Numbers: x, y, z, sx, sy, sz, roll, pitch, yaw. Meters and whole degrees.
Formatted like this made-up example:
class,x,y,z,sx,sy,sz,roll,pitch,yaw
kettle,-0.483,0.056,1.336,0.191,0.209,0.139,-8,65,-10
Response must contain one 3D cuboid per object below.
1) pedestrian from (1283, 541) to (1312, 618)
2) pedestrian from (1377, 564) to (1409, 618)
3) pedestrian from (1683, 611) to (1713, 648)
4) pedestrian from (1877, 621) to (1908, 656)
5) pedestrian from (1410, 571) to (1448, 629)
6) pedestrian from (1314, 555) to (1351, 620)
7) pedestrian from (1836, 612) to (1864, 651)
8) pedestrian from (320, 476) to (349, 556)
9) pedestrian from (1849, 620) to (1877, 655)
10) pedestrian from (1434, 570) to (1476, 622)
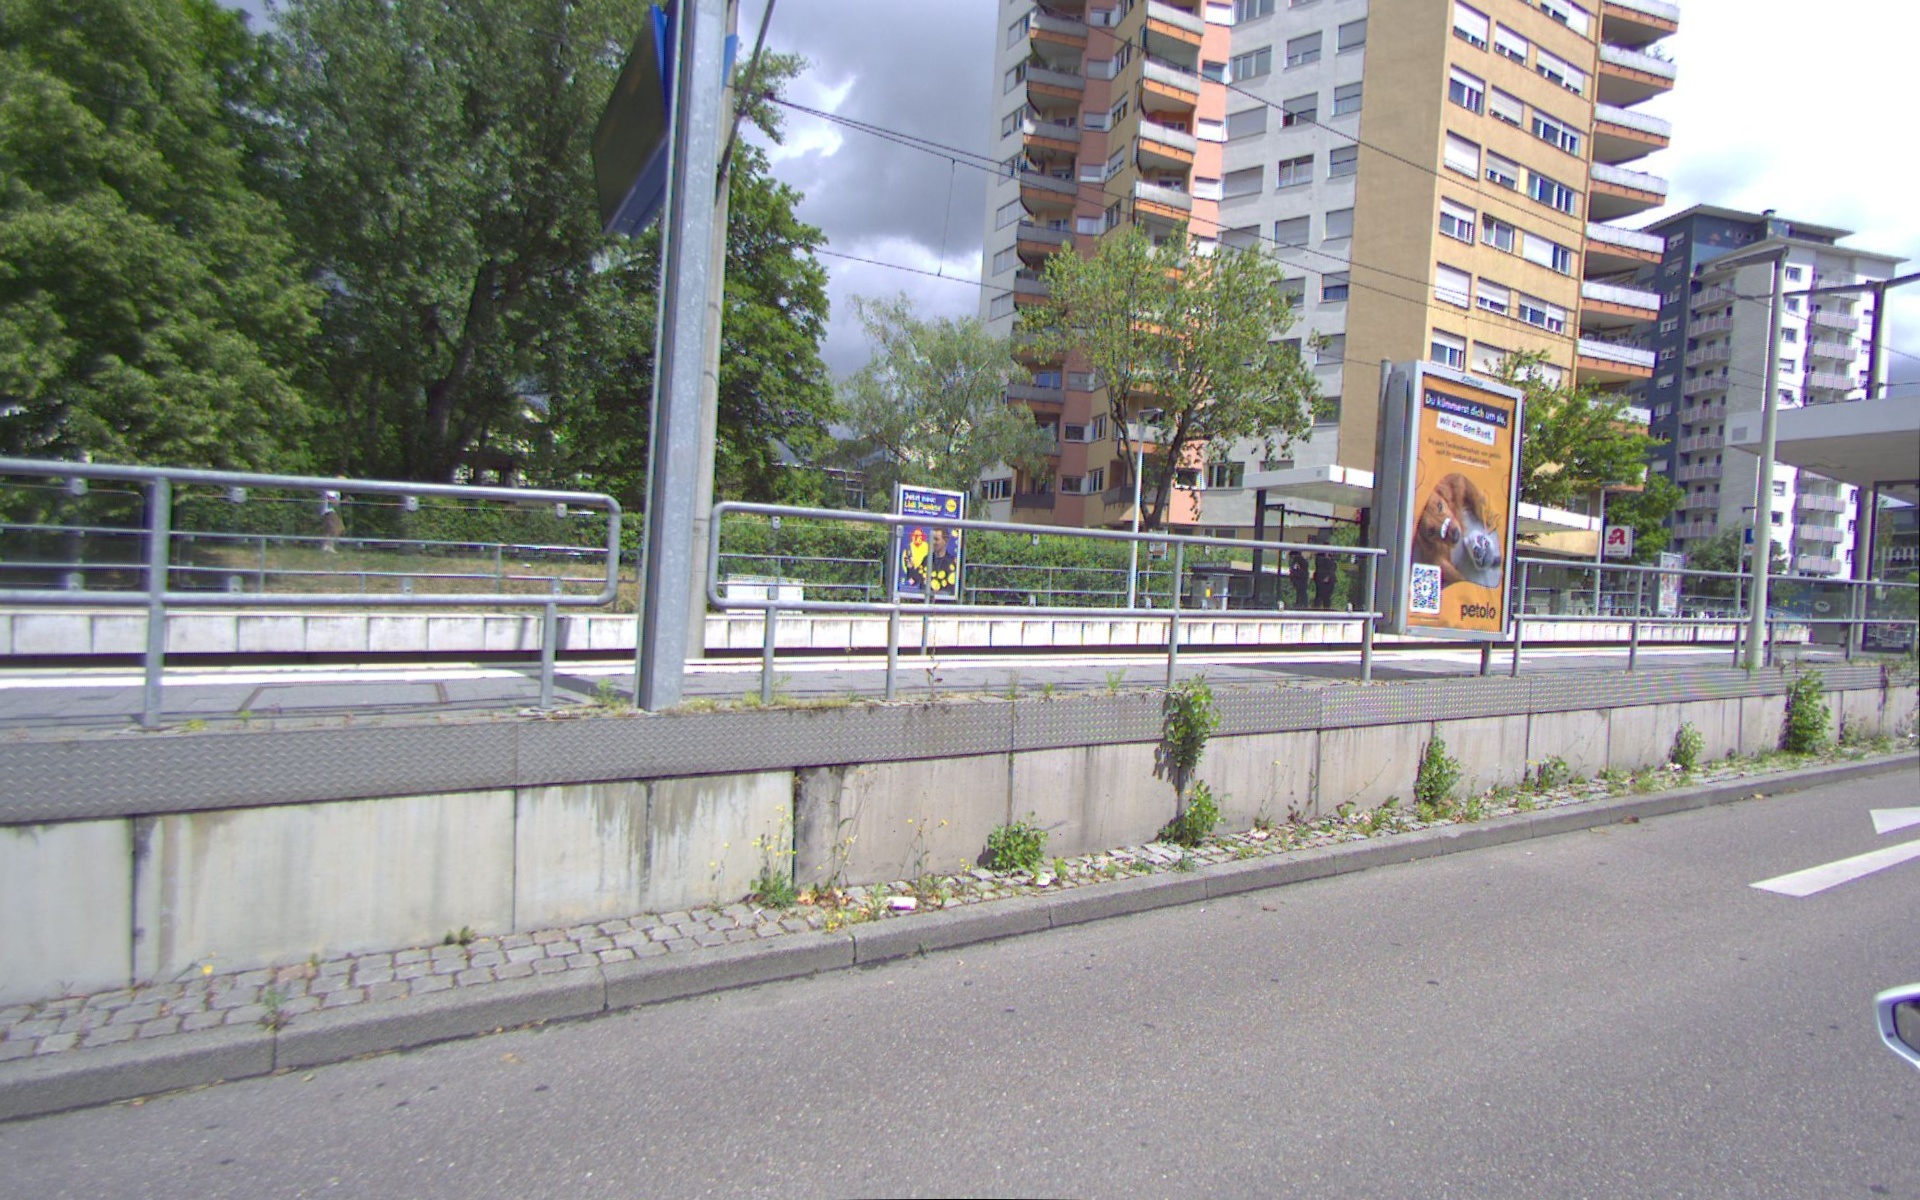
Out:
class,x,y,z,sx,sy,sz,roll,pitch,yaw
pedestrian,7.435,-0.441,22.129,0.512,1.666,0.564,1,0,27
pedestrian,10.267,-0.200,23.809,0.539,1.253,0.515,1,0,-43
pedestrian,35.158,1.407,47.860,0.678,1.719,0.857,1,0,-16
pedestrian,37.365,1.534,40.264,0.677,1.360,0.859,1,0,28
pedestrian,11.340,0.000,24.307,0.501,1.387,0.640,1,0,-31
pedestrian,8.318,-0.279,22.423,0.517,1.397,0.537,5,-2,-40
pedestrian,37.069,1.317,41.833,0.765,1.604,0.605,1,0,-28
pedestrian,-14.113,-1.873,22.668,0.498,1.735,0.647,1,0,-31
pedestrian,36.516,1.510,40.621,0.543,1.360,0.669,2,0,11
pedestrian,12.113,-0.088,24.591,0.512,1.253,0.738,1,0,-30
